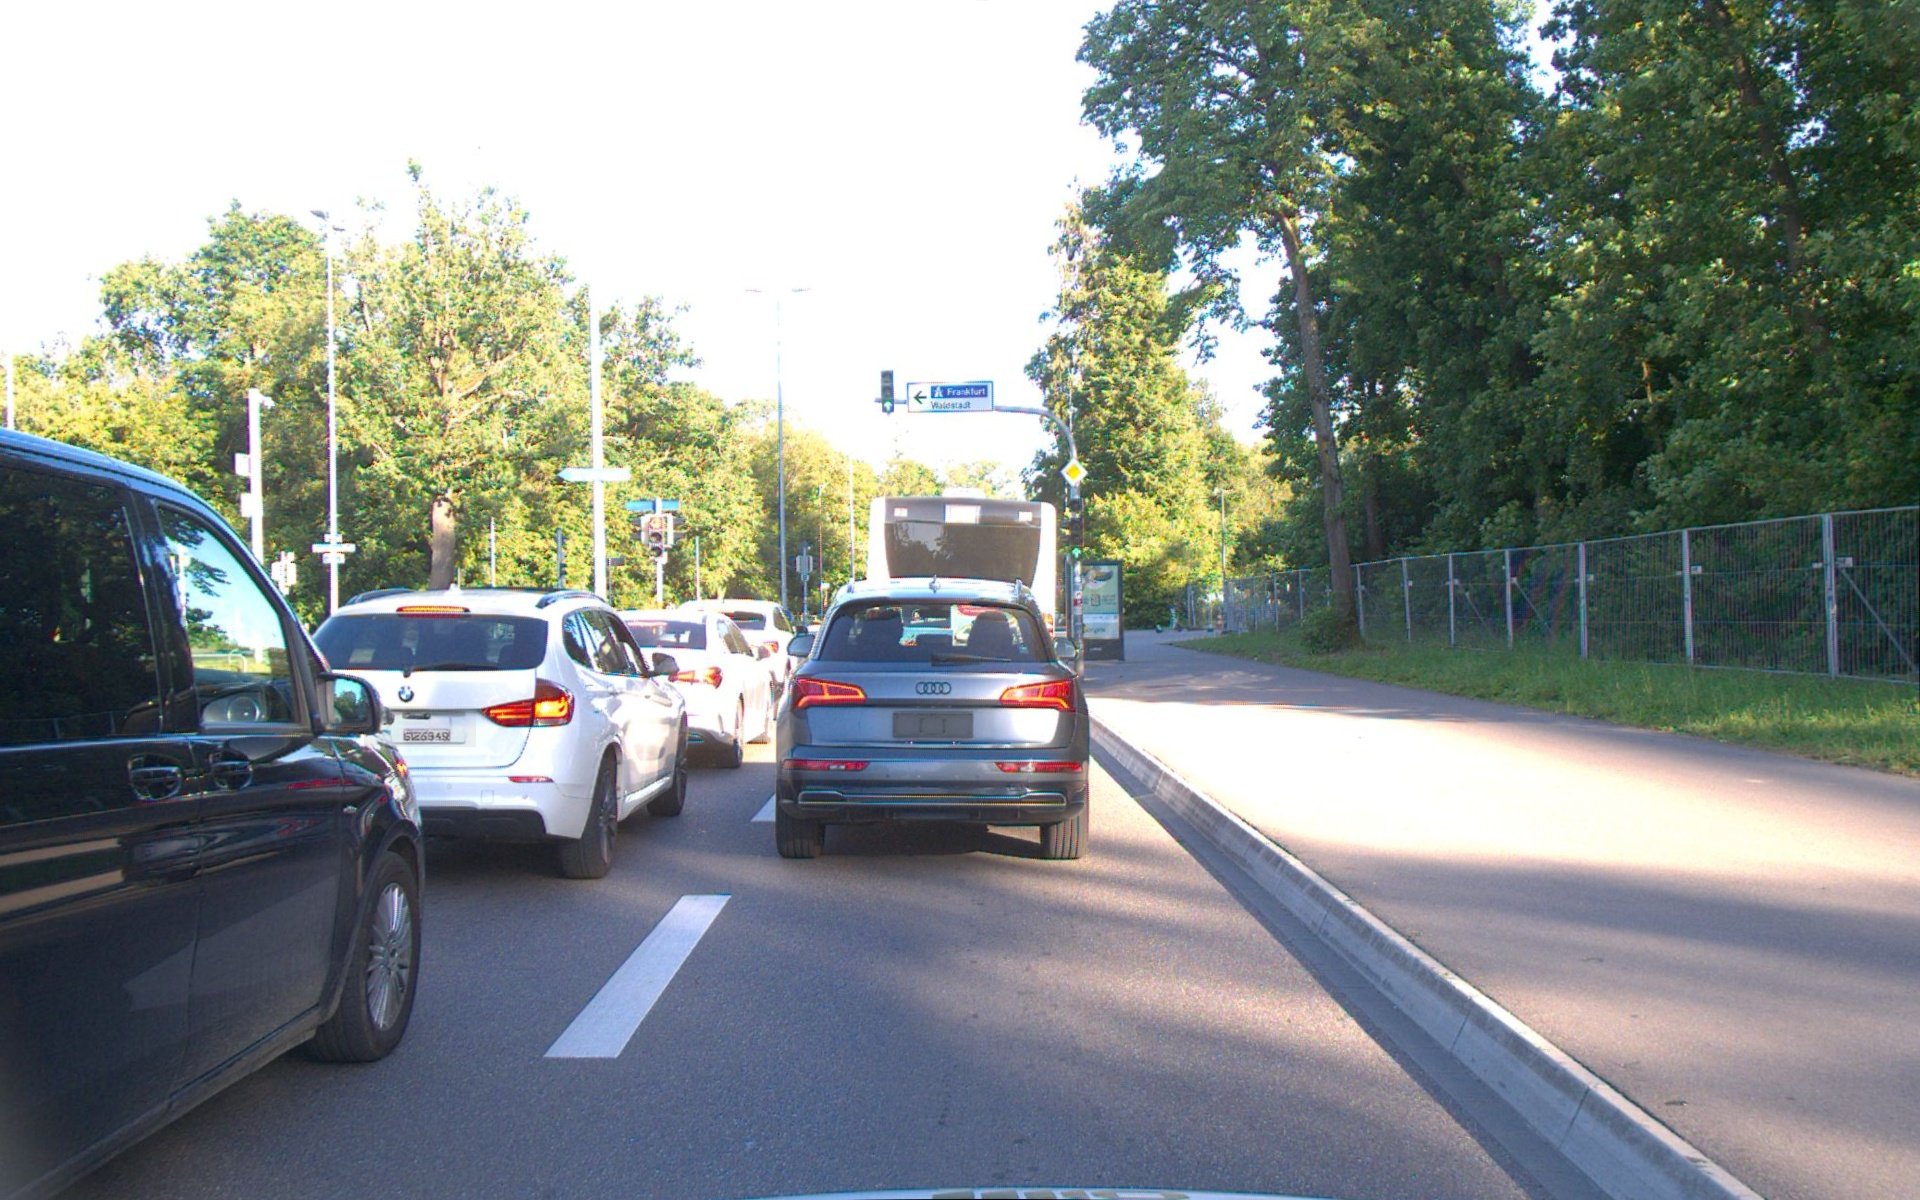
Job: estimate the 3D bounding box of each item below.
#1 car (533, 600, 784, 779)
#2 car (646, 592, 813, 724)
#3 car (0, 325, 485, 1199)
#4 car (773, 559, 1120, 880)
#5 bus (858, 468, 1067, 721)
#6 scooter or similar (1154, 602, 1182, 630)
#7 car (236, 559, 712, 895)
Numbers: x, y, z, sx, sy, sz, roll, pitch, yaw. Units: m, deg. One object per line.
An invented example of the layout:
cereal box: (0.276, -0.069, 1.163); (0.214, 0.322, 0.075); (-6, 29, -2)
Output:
car: (-2.822, 0.772, 16.367); (1.749, 1.469, 4.277); (1, 0, -1)
car: (-3.067, 0.722, 22.729); (1.771, 1.599, 3.999); (1, 0, -1)
car: (-2.637, 0.435, 3.533); (1.868, 1.888, 4.873); (1, 1, -1)
car: (-0.103, 0.626, 10.869); (1.830, 1.693, 3.999); (1, 0, -1)
bus: (0.049, -0.098, 24.156); (2.624, 3.197, 5.882); (1, 0, 0)
scooter or similar: (9.197, 0.693, 73.136); (1.158, 1.195, 0.659); (1, 0, 10)
car: (-2.698, 0.656, 10.289); (1.683, 1.608, 4.432); (1, -1, -1)
